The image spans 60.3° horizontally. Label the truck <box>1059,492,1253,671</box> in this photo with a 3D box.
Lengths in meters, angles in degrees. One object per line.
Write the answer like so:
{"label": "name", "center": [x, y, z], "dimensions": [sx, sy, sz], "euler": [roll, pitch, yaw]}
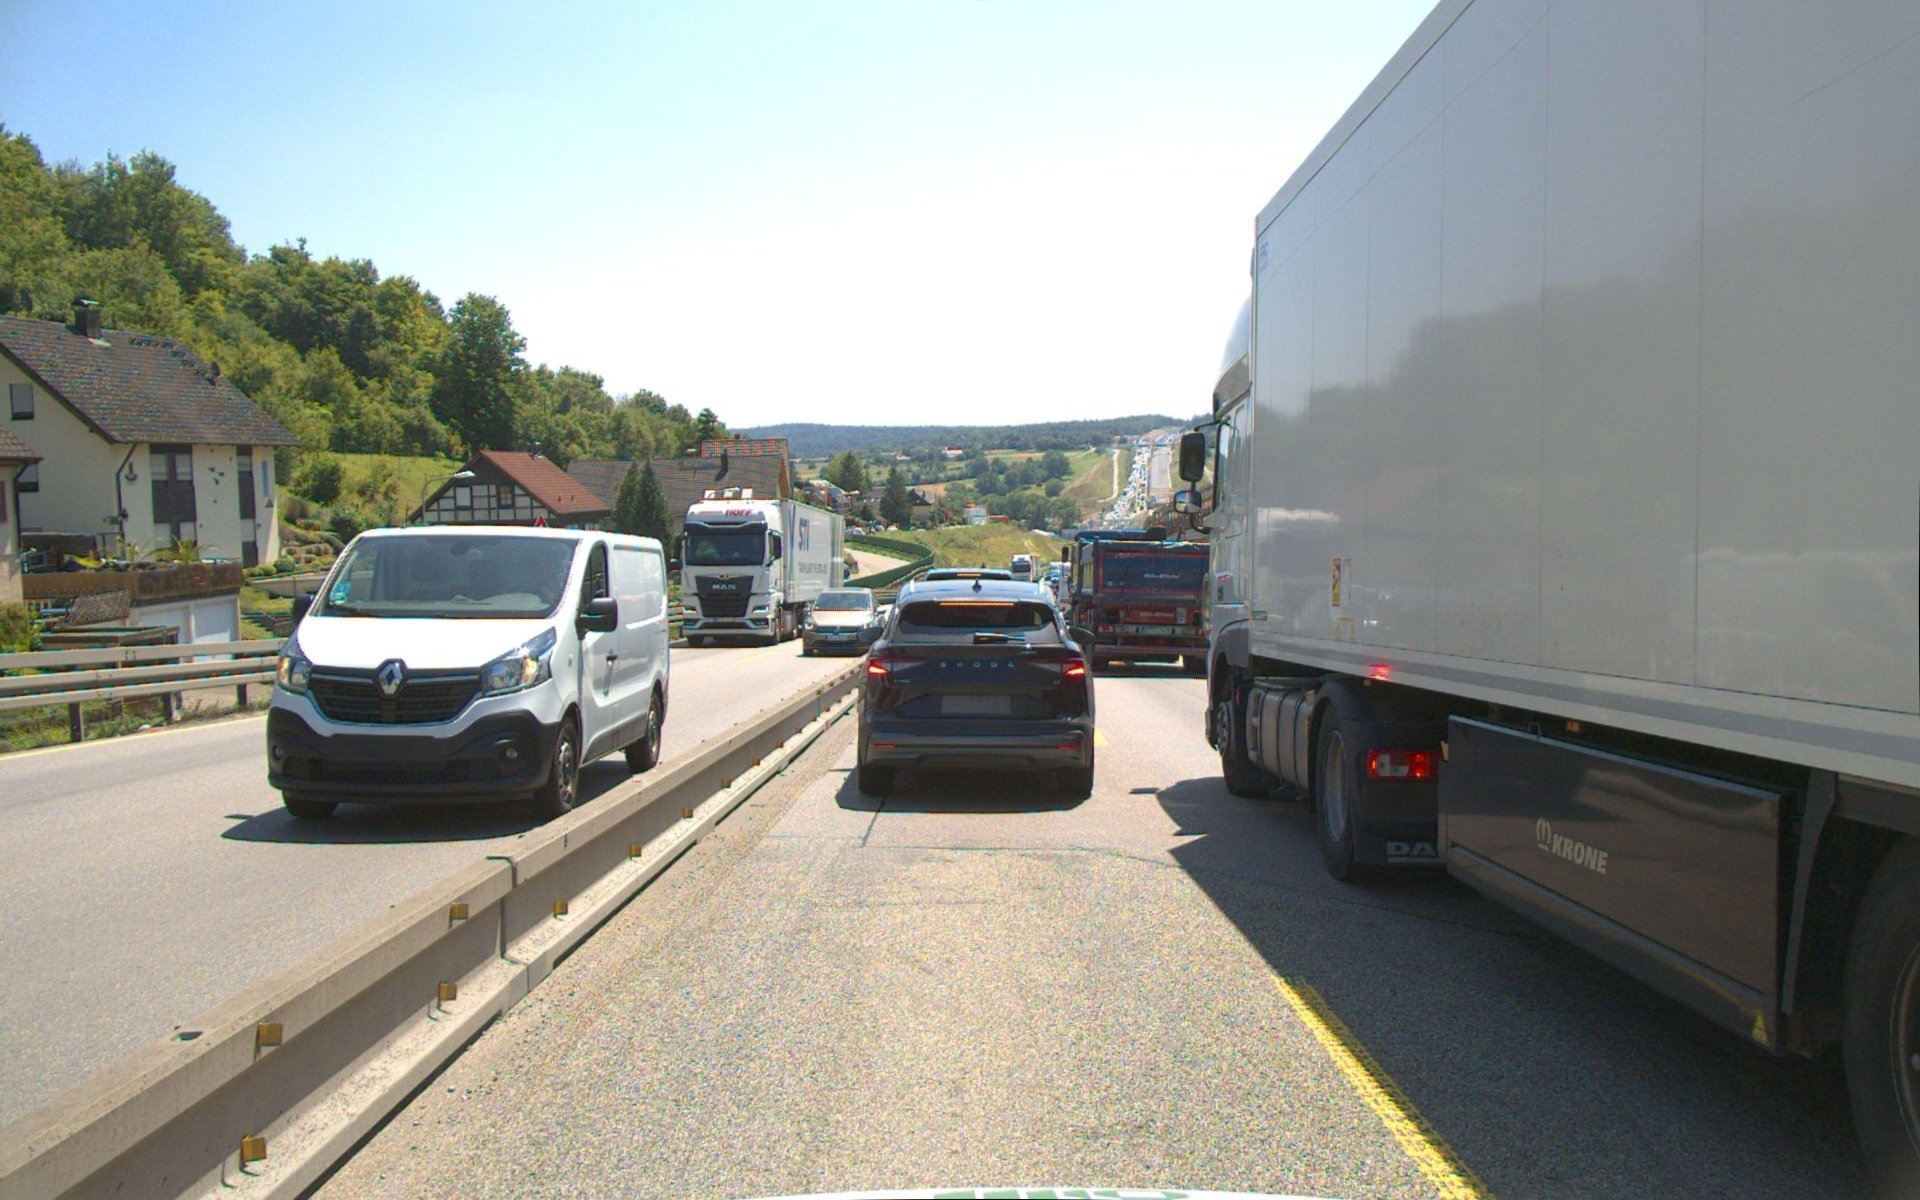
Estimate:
{"label": "truck", "center": [3.992, -0.316, 36.855], "dimensions": [3.129, 3.247, 12.811], "euler": [1, 0, 2]}

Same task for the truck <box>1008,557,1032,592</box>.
{"label": "truck", "center": [7.482, -3.177, 207.231], "dimensions": [2.694, 4.358, 4.960], "euler": [1, 1, 5]}

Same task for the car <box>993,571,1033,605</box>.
{"label": "car", "center": [2.728, -0.600, 84.241], "dimensions": [1.952, 1.613, 3.837], "euler": [1, 0, 2]}

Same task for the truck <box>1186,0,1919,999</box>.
{"label": "truck", "center": [3.184, -0.623, 9.985], "dimensions": [2.462, 4.095, 8.237], "euler": [1, 0, 0]}

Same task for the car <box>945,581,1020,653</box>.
{"label": "car", "center": [0.535, 0.391, 42.275], "dimensions": [1.672, 1.650, 3.999], "euler": [1, 1, -2]}

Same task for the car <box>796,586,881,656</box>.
{"label": "car", "center": [-2.869, 0.491, 39.748], "dimensions": [1.808, 1.601, 3.999], "euler": [0, 0, -1]}

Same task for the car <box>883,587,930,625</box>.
{"label": "car", "center": [-2.175, 0.249, 68.240], "dimensions": [1.753, 1.478, 4.635], "euler": [0, 0, 1]}

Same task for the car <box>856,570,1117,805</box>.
{"label": "car", "center": [0.112, 0.622, 13.549], "dimensions": [1.805, 1.614, 3.905], "euler": [1, 0, -2]}

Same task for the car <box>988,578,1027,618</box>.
{"label": "car", "center": [2.081, -0.116, 73.073], "dimensions": [1.671, 1.650, 4.001], "euler": [1, 1, 1]}

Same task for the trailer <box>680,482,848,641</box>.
{"label": "trailer", "center": [-6.002, -1.053, 53.774], "dimensions": [3.184, 4.455, 14.062], "euler": [1, 0, 2]}

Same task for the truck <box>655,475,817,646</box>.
{"label": "truck", "center": [-6.256, -1.024, 47.758], "dimensions": [3.235, 4.438, 8.302], "euler": [1, 0, 2]}

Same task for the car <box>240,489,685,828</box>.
{"label": "car", "center": [-3.432, 0.362, 12.498], "dimensions": [1.953, 2.046, 4.856], "euler": [0, 0, -1]}

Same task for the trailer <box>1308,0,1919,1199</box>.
{"label": "trailer", "center": [3.230, -0.840, 3.259], "dimensions": [2.480, 4.199, 11.546], "euler": [1, 0, -1]}

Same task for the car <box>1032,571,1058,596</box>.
{"label": "car", "center": [6.208, -1.172, 120.962], "dimensions": [1.665, 1.758, 3.839], "euler": [1, 0, 6]}

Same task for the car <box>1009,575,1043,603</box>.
{"label": "car", "center": [3.923, -0.652, 98.940], "dimensions": [1.952, 1.613, 3.837], "euler": [1, 0, 2]}

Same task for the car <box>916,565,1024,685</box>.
{"label": "car", "center": [0.112, 0.364, 28.957], "dimensions": [1.672, 1.914, 3.999], "euler": [1, 1, -2]}

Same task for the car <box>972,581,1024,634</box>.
{"label": "car", "center": [1.286, 0.233, 56.332], "dimensions": [1.671, 1.650, 4.001], "euler": [1, 1, 1]}
